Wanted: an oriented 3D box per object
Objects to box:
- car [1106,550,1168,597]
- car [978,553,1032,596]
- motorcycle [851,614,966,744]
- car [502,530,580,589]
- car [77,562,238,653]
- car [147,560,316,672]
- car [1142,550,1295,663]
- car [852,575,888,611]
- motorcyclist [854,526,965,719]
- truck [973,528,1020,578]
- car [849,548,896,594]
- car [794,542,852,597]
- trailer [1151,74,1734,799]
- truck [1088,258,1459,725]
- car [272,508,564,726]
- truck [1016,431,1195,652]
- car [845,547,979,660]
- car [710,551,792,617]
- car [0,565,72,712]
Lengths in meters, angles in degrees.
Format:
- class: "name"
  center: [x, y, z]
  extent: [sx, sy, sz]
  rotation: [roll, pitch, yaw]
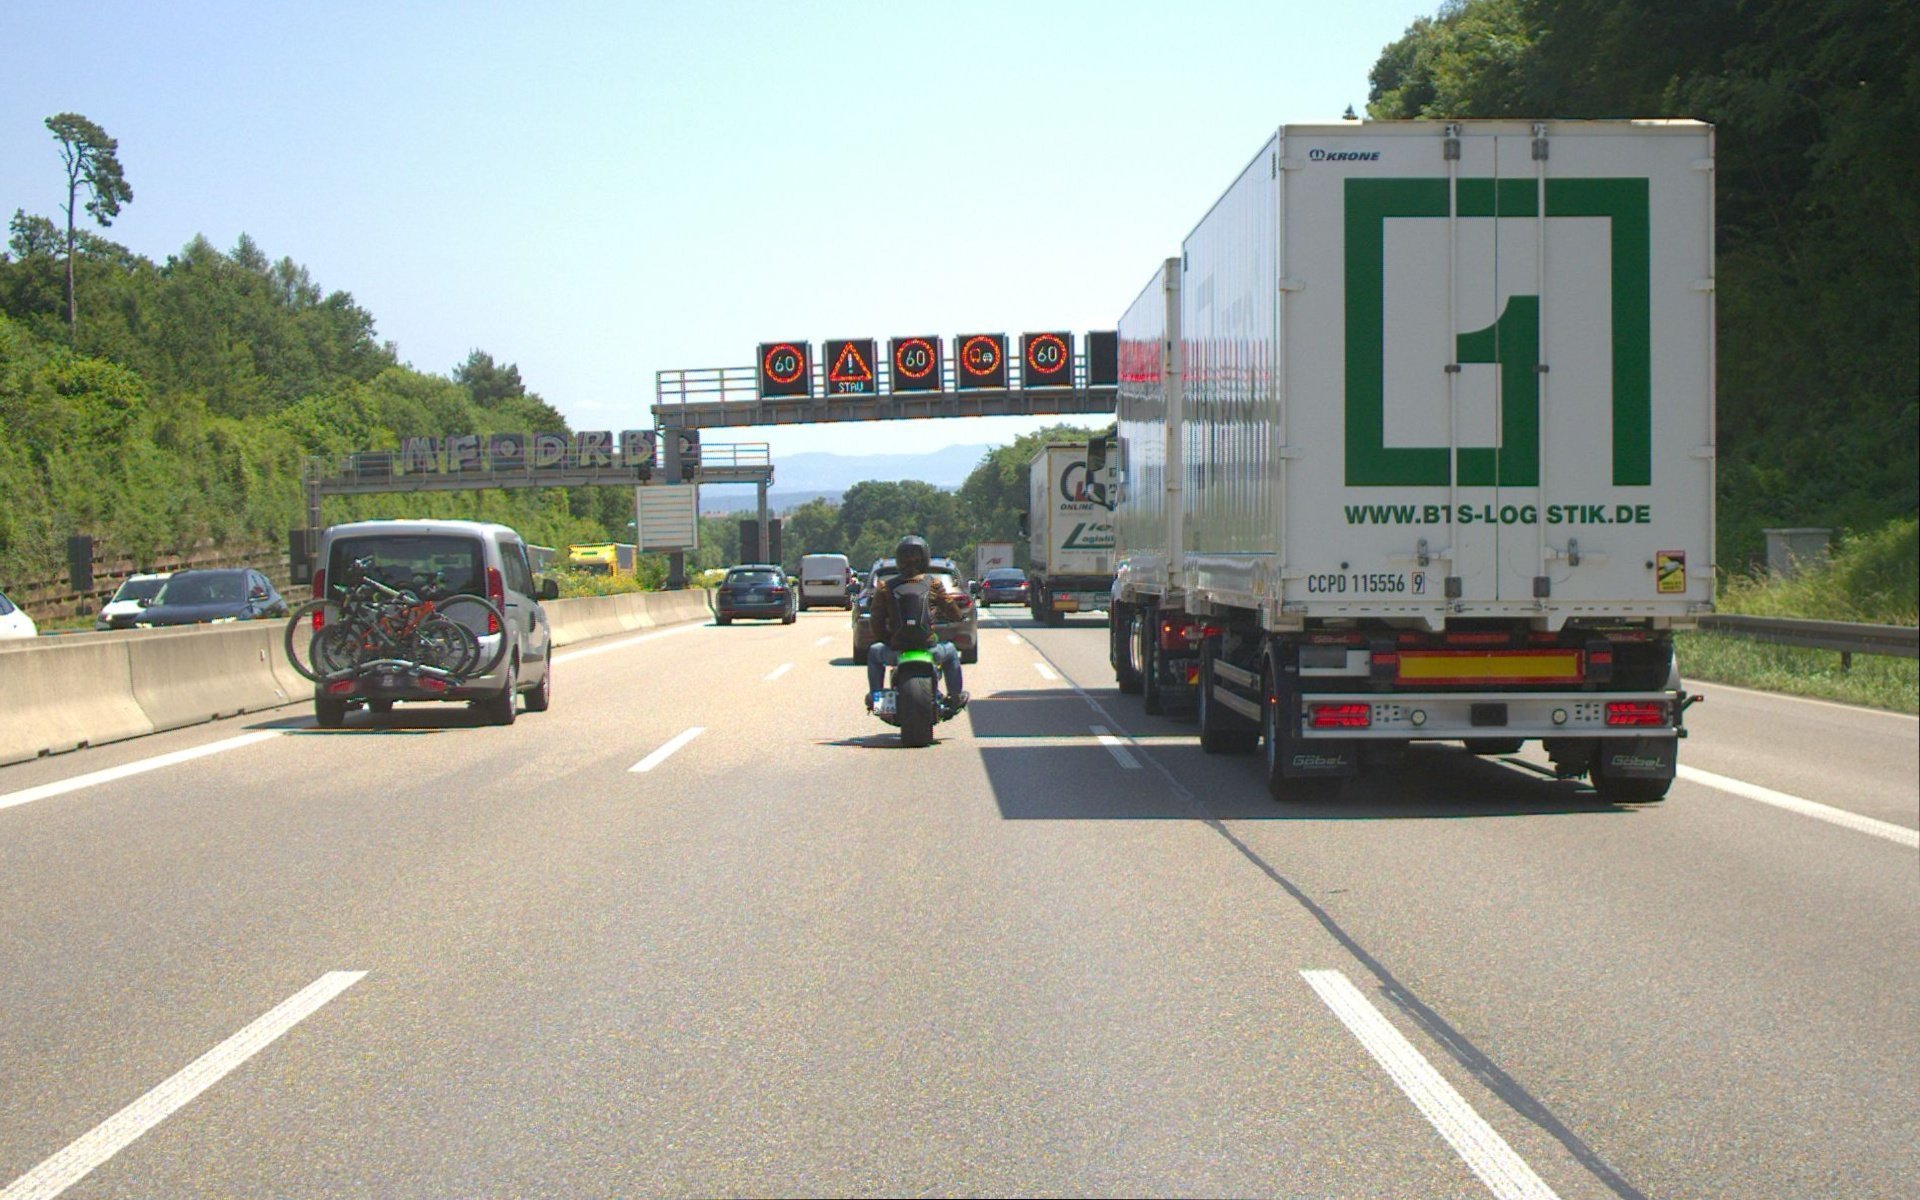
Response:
- class: "car"
  center: [5.926, -0.909, 115.319]
  extent: [1.831, 1.521, 4.027]
  rotation: [0, 1, -1]
- class: "car"
  center: [1.610, -0.933, 124.320]
  extent: [1.831, 1.521, 4.027]
  rotation: [0, 1, -1]
- class: "motorcycle"
  center: [-0.397, 0.612, 27.547]
  extent: [0.862, 0.978, 2.130]
  rotation: [-1, 0, 1]
- class: "car"
  center: [-12.108, -1.171, 99.555]
  extent: [1.746, 1.599, 4.059]
  rotation: [-2, 1, -1]
- class: "car"
  center: [-15.921, 0.107, 68.508]
  extent: [1.883, 1.632, 5.649]
  rotation: [-2, 1, -1]
- class: "car"
  center: [-11.537, 0.218, 54.662]
  extent: [1.753, 1.632, 4.303]
  rotation: [-2, 1, -1]
- class: "car"
  center: [3.699, 0.061, 49.812]
  extent: [1.845, 1.552, 4.392]
  rotation: [0, 1, -1]
- class: "car"
  center: [-4.738, -0.379, 182.090]
  extent: [1.831, 1.804, 4.120]
  rotation: [0, 1, -1]
- class: "motorcyclist"
  center: [-0.397, 0.179, 27.552]
  extent: [0.856, 1.510, 0.914]
  rotation: [-1, 0, 1]
- class: "truck"
  center: [2.500, -3.244, 237.424]
  extent: [3.067, 3.335, 9.652]
  rotation: [1, 1, 0]
- class: "car"
  center: [-3.455, -1.171, 136.500]
  extent: [1.831, 1.804, 4.120]
  rotation: [0, 1, -1]
- class: "car"
  center: [-4.564, -1.039, 115.083]
  extent: [1.831, 1.804, 4.120]
  rotation: [0, 1, -1]
- class: "trailer"
  center: [3.060, -0.994, 24.835]
  extent: [2.680, 4.161, 10.066]
  rotation: [0, 1, -1]
- class: "truck"
  center: [2.925, -0.999, 35.188]
  extent: [2.680, 4.046, 10.626]
  rotation: [0, 1, -1]
- class: "car"
  center: [-4.903, 0.138, 31.840]
  extent: [1.898, 1.841, 5.483]
  rotation: [0, 0, -1]
- class: "truck"
  center: [3.273, -1.354, 82.719]
  extent: [3.383, 4.702, 17.709]
  rotation: [1, 1, 0]
- class: "car"
  center: [-0.687, 0.018, 49.577]
  extent: [1.845, 1.552, 4.439]
  rotation: [0, 1, -1]
- class: "car"
  center: [-5.027, -0.410, 83.052]
  extent: [1.758, 1.538, 4.395]
  rotation: [0, 1, -1]
- class: "car"
  center: [-11.551, 0.466, 38.320]
  extent: [1.939, 1.599, 5.226]
  rotation: [-2, 1, -1]
